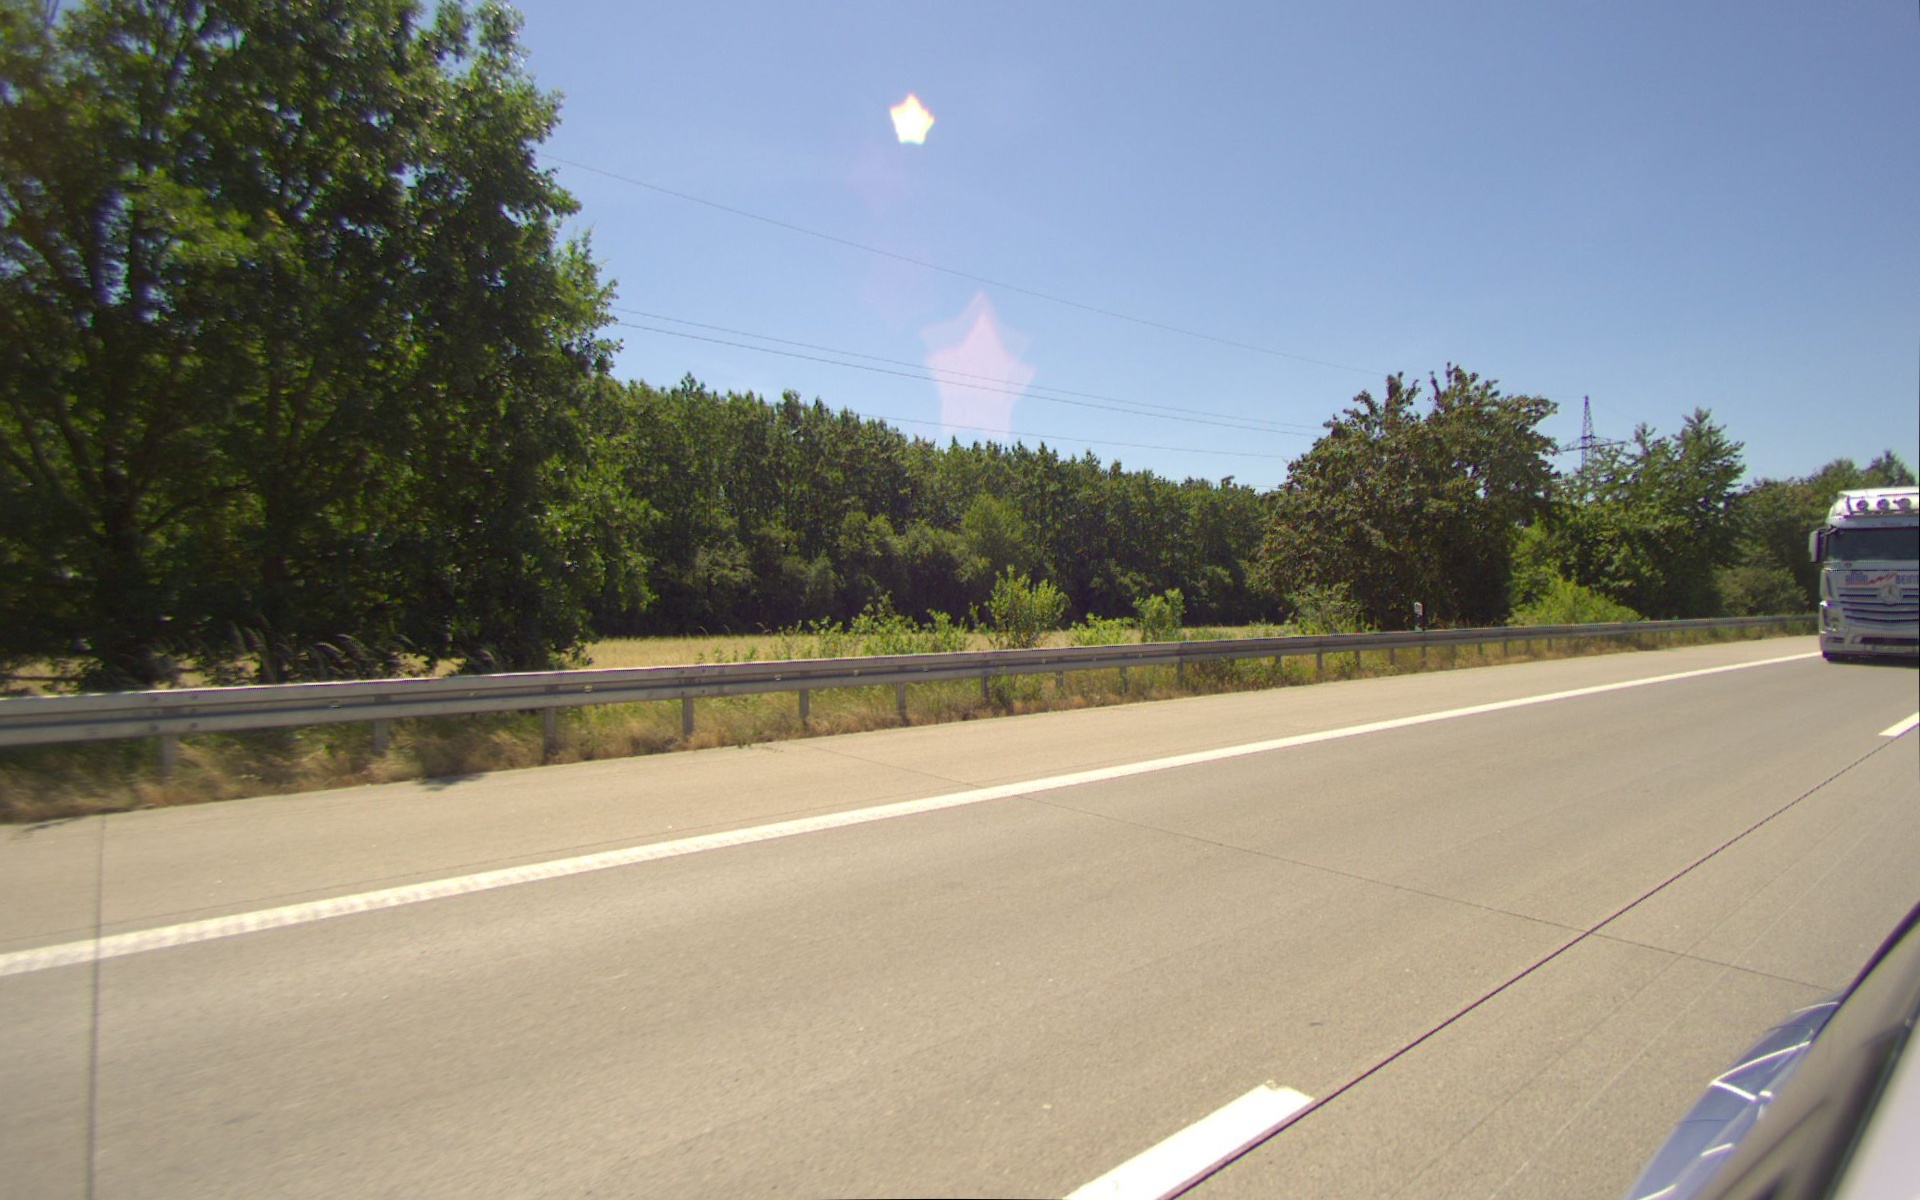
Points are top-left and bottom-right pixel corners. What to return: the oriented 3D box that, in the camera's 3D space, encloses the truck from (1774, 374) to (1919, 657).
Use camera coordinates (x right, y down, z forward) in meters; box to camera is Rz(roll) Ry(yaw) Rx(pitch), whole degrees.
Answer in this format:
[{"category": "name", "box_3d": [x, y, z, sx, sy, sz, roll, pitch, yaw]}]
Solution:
[{"category": "truck", "box_3d": [26.573, -1.736, 26.986, 17.916, 5.863, 3.584, 0, -3, -39]}]
